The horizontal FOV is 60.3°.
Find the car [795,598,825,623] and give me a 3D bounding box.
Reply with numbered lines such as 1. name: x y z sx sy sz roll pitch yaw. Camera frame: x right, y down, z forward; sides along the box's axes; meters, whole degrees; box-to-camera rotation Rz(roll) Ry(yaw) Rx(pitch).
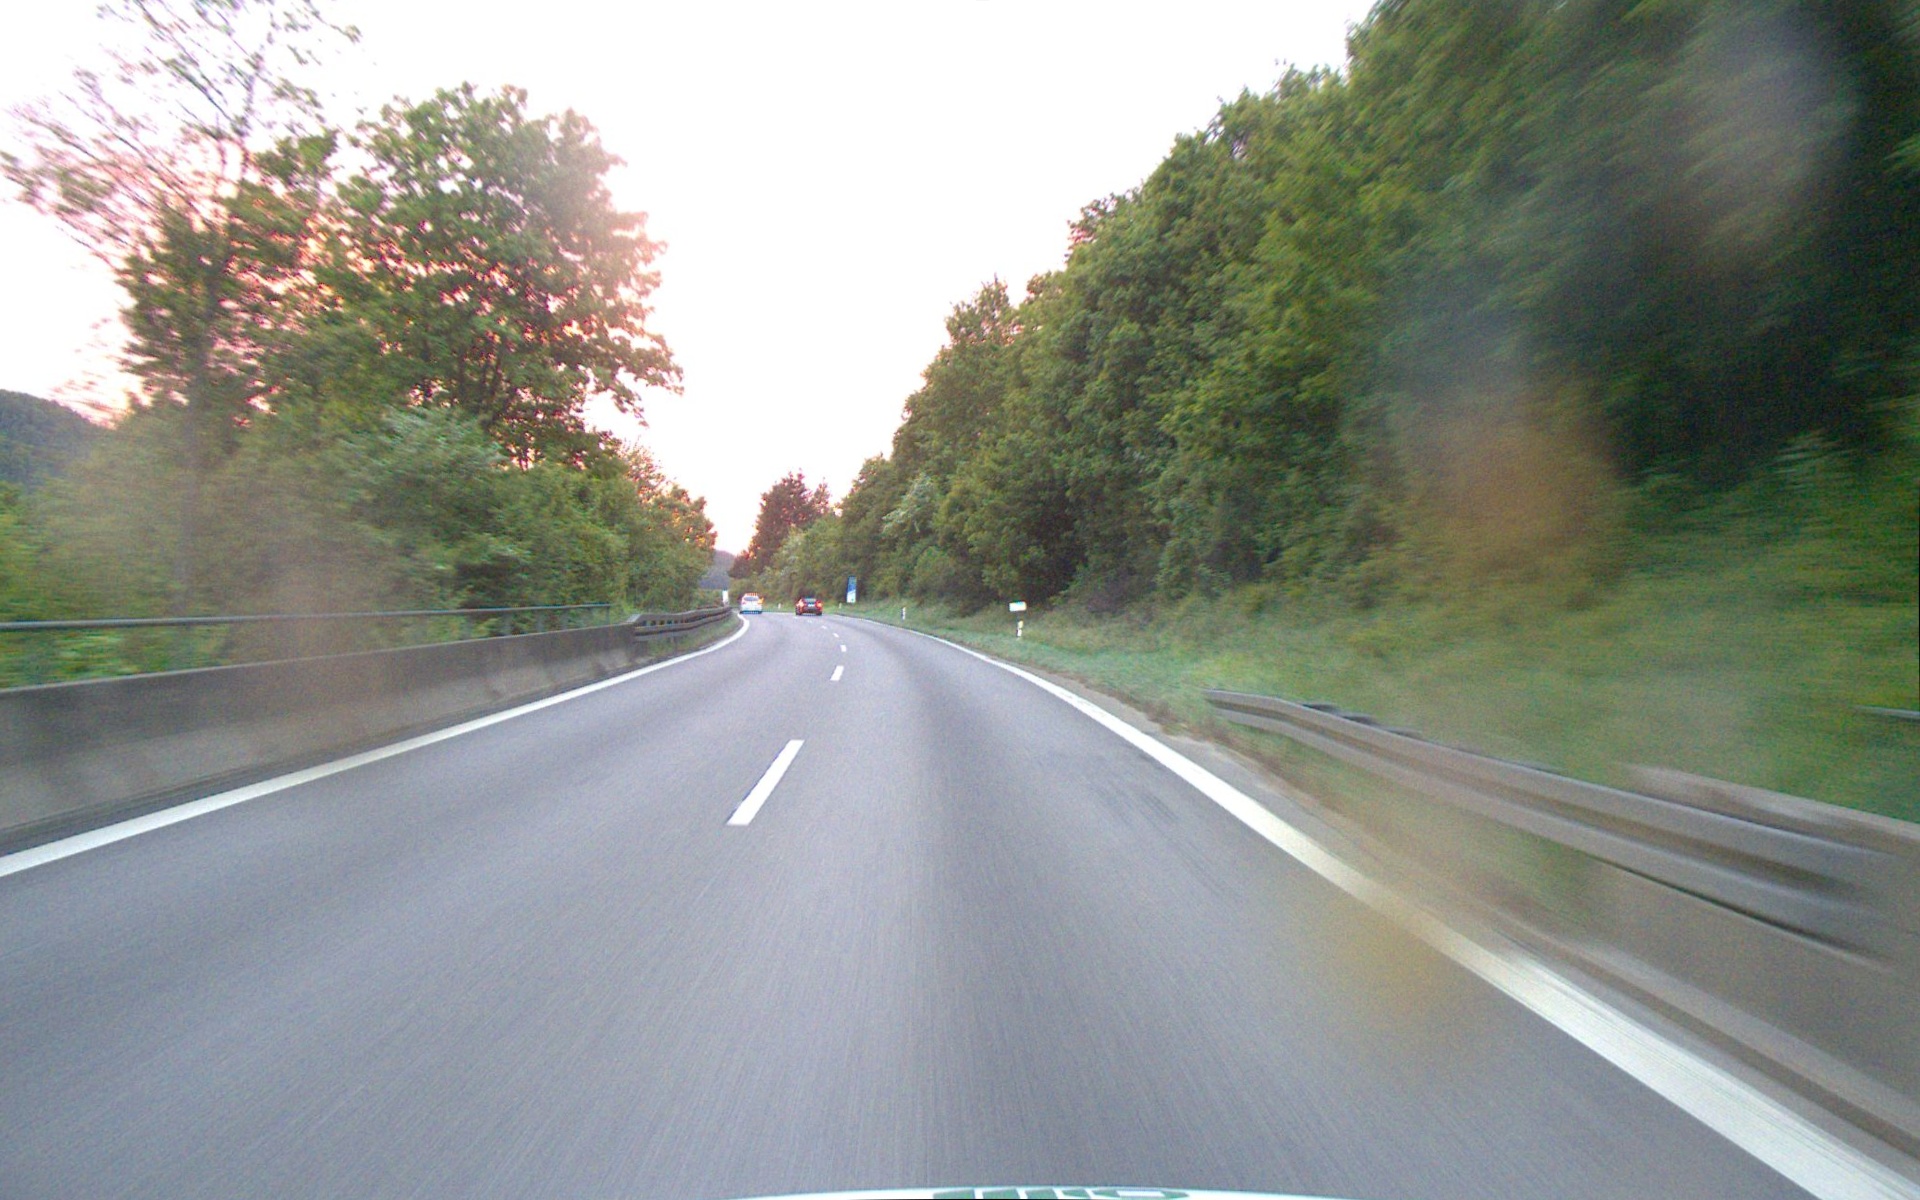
1. car: -12.031 0.890 132.419 1.958 1.675 3.988 4 -4 -11

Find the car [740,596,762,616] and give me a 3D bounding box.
1. car: -17.362 0.516 137.520 1.686 1.528 3.993 2 -2 -7
